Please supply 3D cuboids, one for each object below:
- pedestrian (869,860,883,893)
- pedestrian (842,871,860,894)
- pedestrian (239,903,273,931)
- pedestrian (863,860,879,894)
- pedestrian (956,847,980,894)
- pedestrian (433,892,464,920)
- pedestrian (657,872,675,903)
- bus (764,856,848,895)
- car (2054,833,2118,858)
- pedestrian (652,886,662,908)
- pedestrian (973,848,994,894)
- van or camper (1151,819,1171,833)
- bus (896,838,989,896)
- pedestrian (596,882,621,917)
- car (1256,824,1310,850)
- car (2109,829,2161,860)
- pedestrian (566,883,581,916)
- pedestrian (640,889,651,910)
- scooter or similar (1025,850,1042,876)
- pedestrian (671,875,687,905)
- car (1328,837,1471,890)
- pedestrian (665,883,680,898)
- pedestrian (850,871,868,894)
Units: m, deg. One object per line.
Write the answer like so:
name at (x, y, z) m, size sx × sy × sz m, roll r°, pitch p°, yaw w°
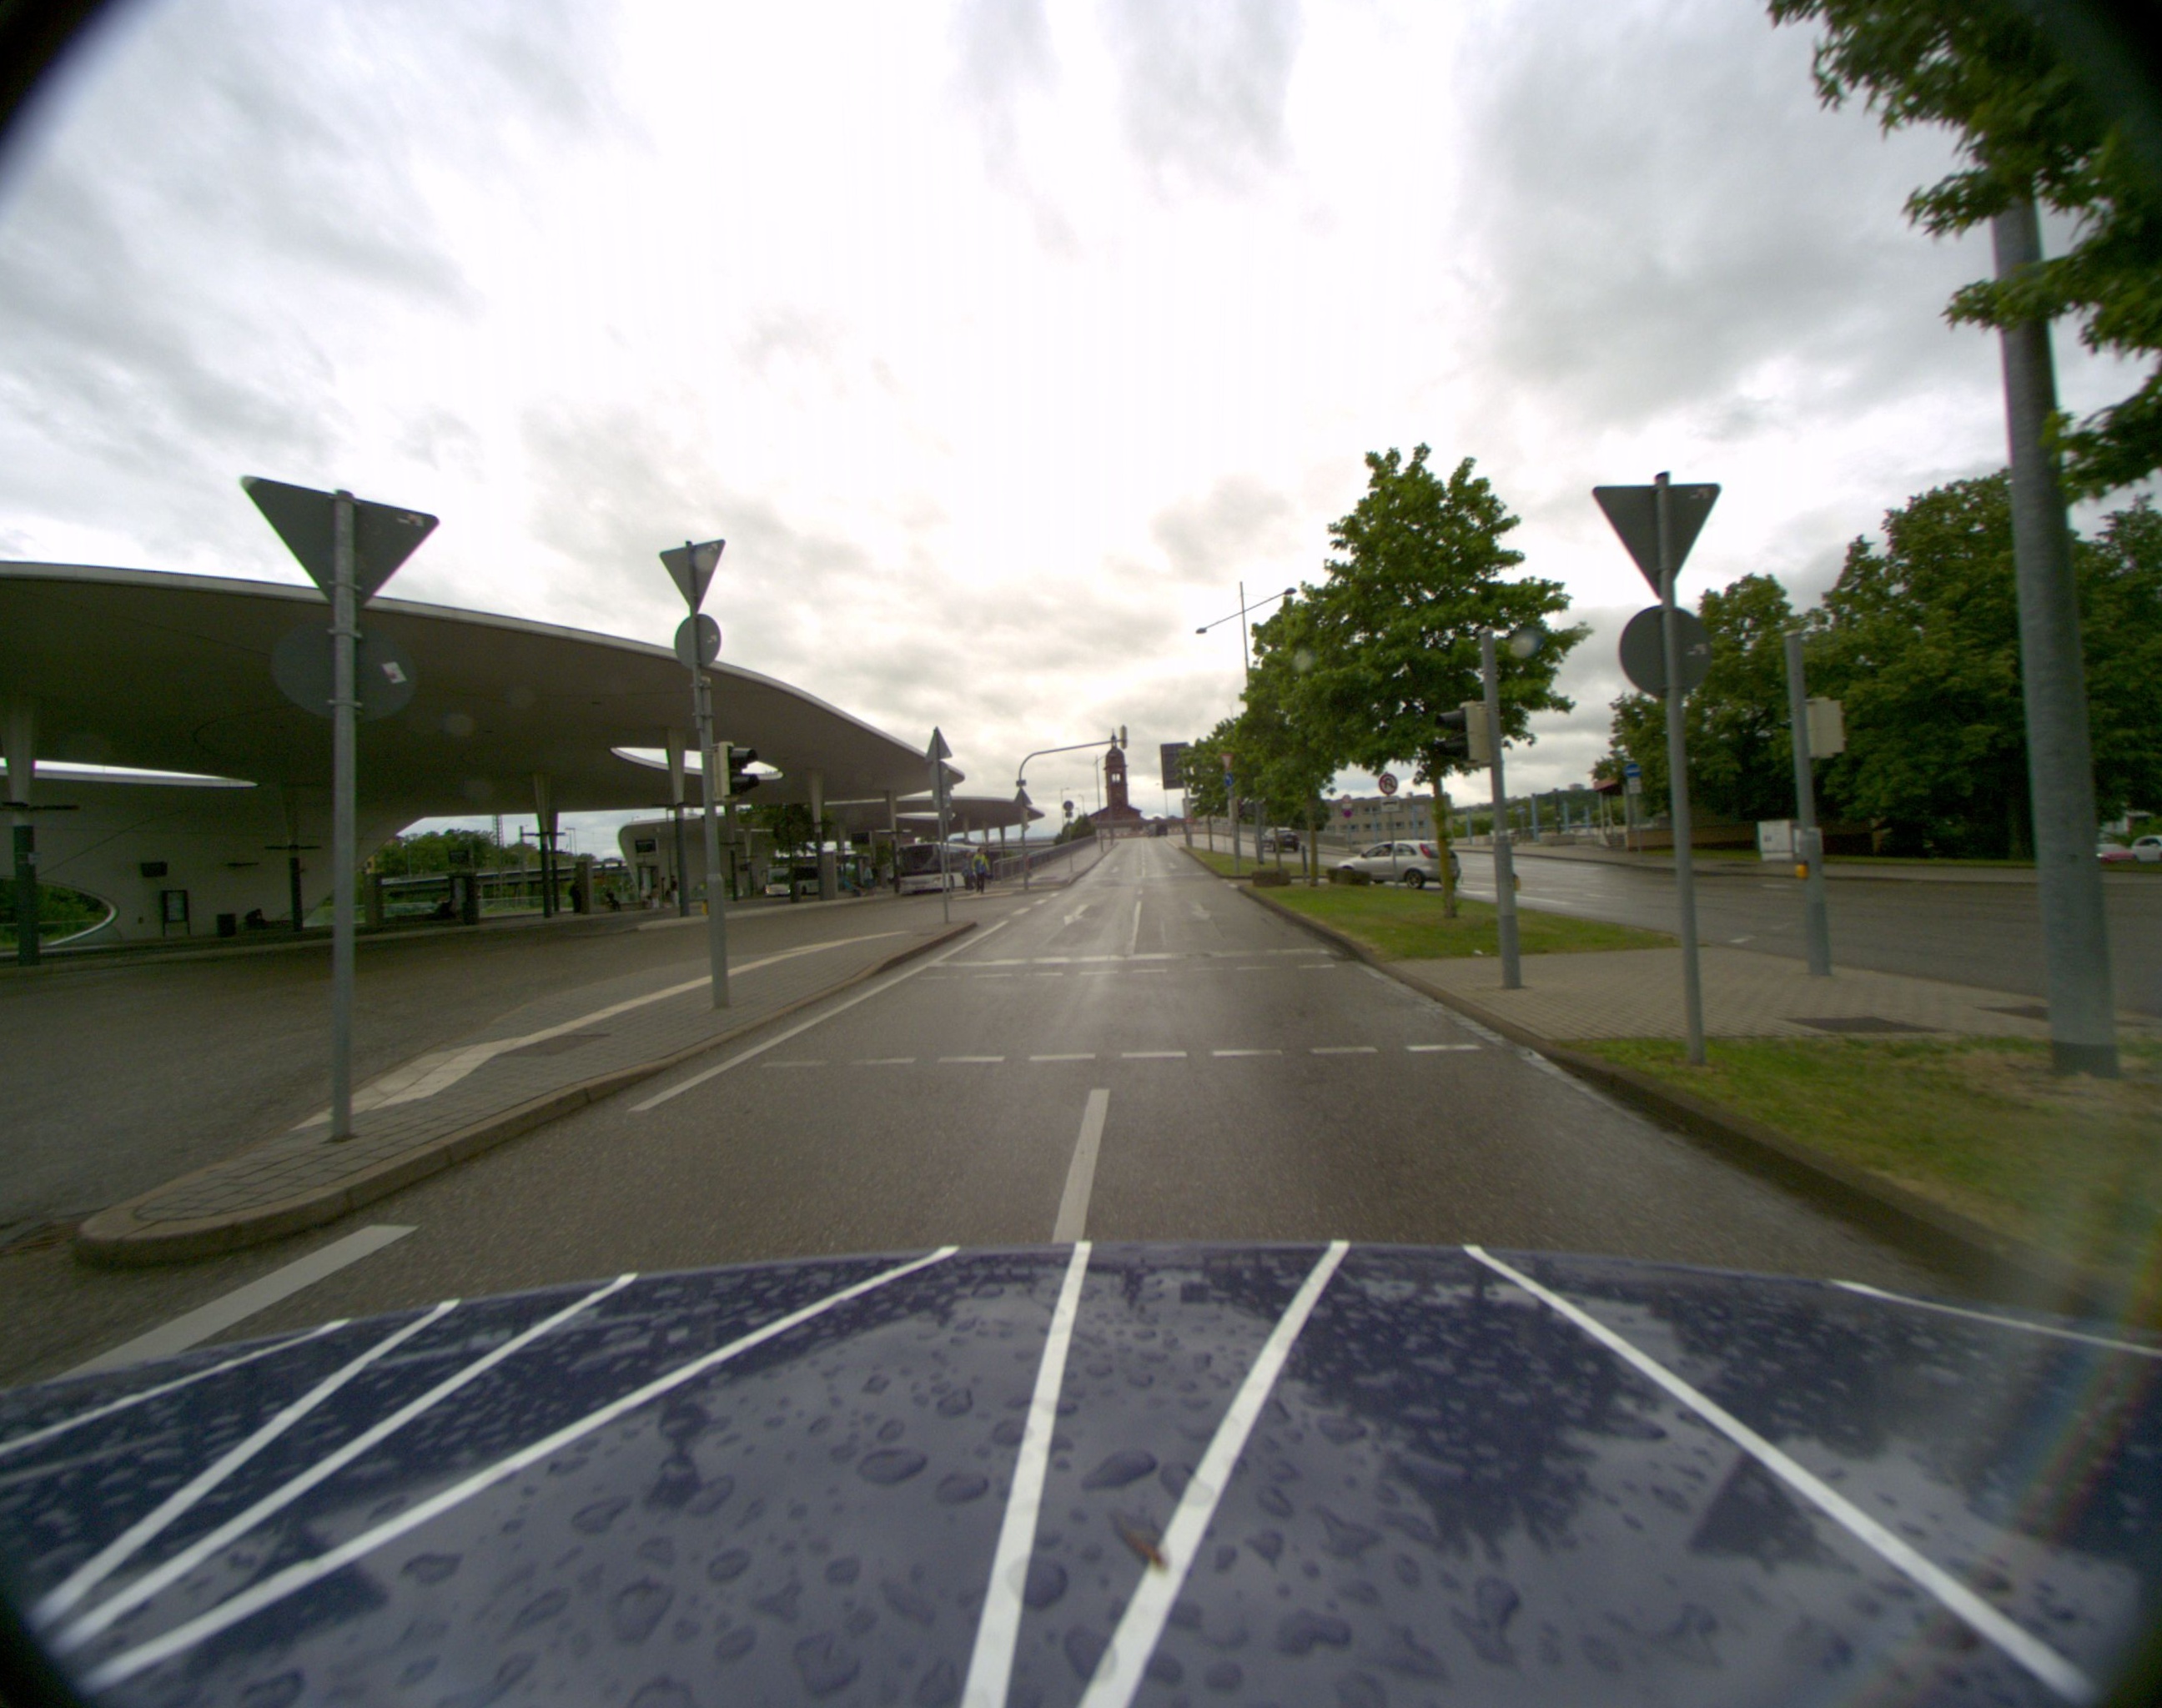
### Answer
pedestrian at (-11.899, 1.306, 44.166) m, size 0.650 × 1.892 × 0.585 m, roll 0°, pitch -2°, yaw -30°
pedestrian at (-12.555, 1.565, 41.491) m, size 0.954 × 1.247 × 0.648 m, roll 0°, pitch -2°, yaw -18°
pedestrian at (-43.479, 3.313, 40.029) m, size 0.710 × 1.318 × 0.801 m, roll -6°, pitch 3°, yaw 8°
pedestrian at (-11.607, 1.258, 42.012) m, size 0.585 × 1.875 × 0.650 m, roll -1°, pitch -1°, yaw 15°
pedestrian at (-4.199, 0.601, 28.258) m, size 0.590 × 1.662 × 0.580 m, roll -5°, pitch 4°, yaw 5°
pedestrian at (-32.502, 2.674, 39.081) m, size 0.710 × 1.318 × 0.801 m, roll -6°, pitch 3°, yaw 13°
pedestrian at (-22.717, 1.849, 41.598) m, size 0.570 × 1.645 × 0.557 m, roll -2°, pitch 0°, yaw 11°
bus at (-27.009, 1.995, 75.586) m, size 2.794 × 3.238 × 12.145 m, roll -3°, pitch 0°, yaw 5°
car at (62.480, -0.527, 47.301) m, size 1.568 × 1.387 × 3.187 m, roll -3°, pitch 0°, yaw 37°
pedestrian at (-22.281, 2.252, 39.917) m, size 0.364 × 1.138 × 0.395 m, roll -2°, pitch 1°, yaw -43°
pedestrian at (-3.614, 0.627, 28.119) m, size 0.523 × 1.661 × 0.580 m, roll -4°, pitch 3°, yaw 5°
van or camper at (12.211, -4.315, 116.279) m, size 2.223 × 2.061 × 5.279 m, roll -2°, pitch 3°, yaw -3°
bus at (-8.894, 0.751, 50.880) m, size 2.851 × 3.342 × 12.429 m, roll -2°, pitch 0°, yaw 5°
pedestrian at (-23.207, 2.218, 37.325) m, size 0.589 × 1.581 × 0.677 m, roll -6°, pitch 3°, yaw 1°
car at (14.400, -1.260, 54.466) m, size 1.914 × 1.653 × 4.852 m, roll -3°, pitch 3°, yaw -8°
car at (58.644, -0.542, 41.896) m, size 1.568 × 1.543 × 3.187 m, roll -2°, pitch 0°, yaw 39°
pedestrian at (-23.595, 2.096, 35.317) m, size 0.522 × 1.493 × 0.381 m, roll -3°, pitch 1°, yaw -35°
pedestrian at (-22.680, 2.345, 39.564) m, size 0.353 × 1.074 × 0.391 m, roll -2°, pitch 0°, yaw -44°
scooter or similar at (-2.274, 0.410, 36.573) m, size 0.464 × 1.214 × 1.860 m, roll -3°, pitch 0°, yaw 5°
pedestrian at (-22.509, 2.031, 42.573) m, size 0.644 × 1.645 × 0.638 m, roll -2°, pitch 0°, yaw -35°
car at (9.676, 0.266, 23.382) m, size 1.639 × 1.440 × 3.867 m, roll -2°, pitch 1°, yaw -29°
pedestrian at (-40.243, 3.616, 74.846) m, size 0.800 × 1.318 × 0.711 m, roll -6°, pitch 3°, yaw 10°
pedestrian at (-12.352, 1.580, 42.285) m, size 0.954 × 1.247 × 0.648 m, roll 0°, pitch -2°, yaw -18°
